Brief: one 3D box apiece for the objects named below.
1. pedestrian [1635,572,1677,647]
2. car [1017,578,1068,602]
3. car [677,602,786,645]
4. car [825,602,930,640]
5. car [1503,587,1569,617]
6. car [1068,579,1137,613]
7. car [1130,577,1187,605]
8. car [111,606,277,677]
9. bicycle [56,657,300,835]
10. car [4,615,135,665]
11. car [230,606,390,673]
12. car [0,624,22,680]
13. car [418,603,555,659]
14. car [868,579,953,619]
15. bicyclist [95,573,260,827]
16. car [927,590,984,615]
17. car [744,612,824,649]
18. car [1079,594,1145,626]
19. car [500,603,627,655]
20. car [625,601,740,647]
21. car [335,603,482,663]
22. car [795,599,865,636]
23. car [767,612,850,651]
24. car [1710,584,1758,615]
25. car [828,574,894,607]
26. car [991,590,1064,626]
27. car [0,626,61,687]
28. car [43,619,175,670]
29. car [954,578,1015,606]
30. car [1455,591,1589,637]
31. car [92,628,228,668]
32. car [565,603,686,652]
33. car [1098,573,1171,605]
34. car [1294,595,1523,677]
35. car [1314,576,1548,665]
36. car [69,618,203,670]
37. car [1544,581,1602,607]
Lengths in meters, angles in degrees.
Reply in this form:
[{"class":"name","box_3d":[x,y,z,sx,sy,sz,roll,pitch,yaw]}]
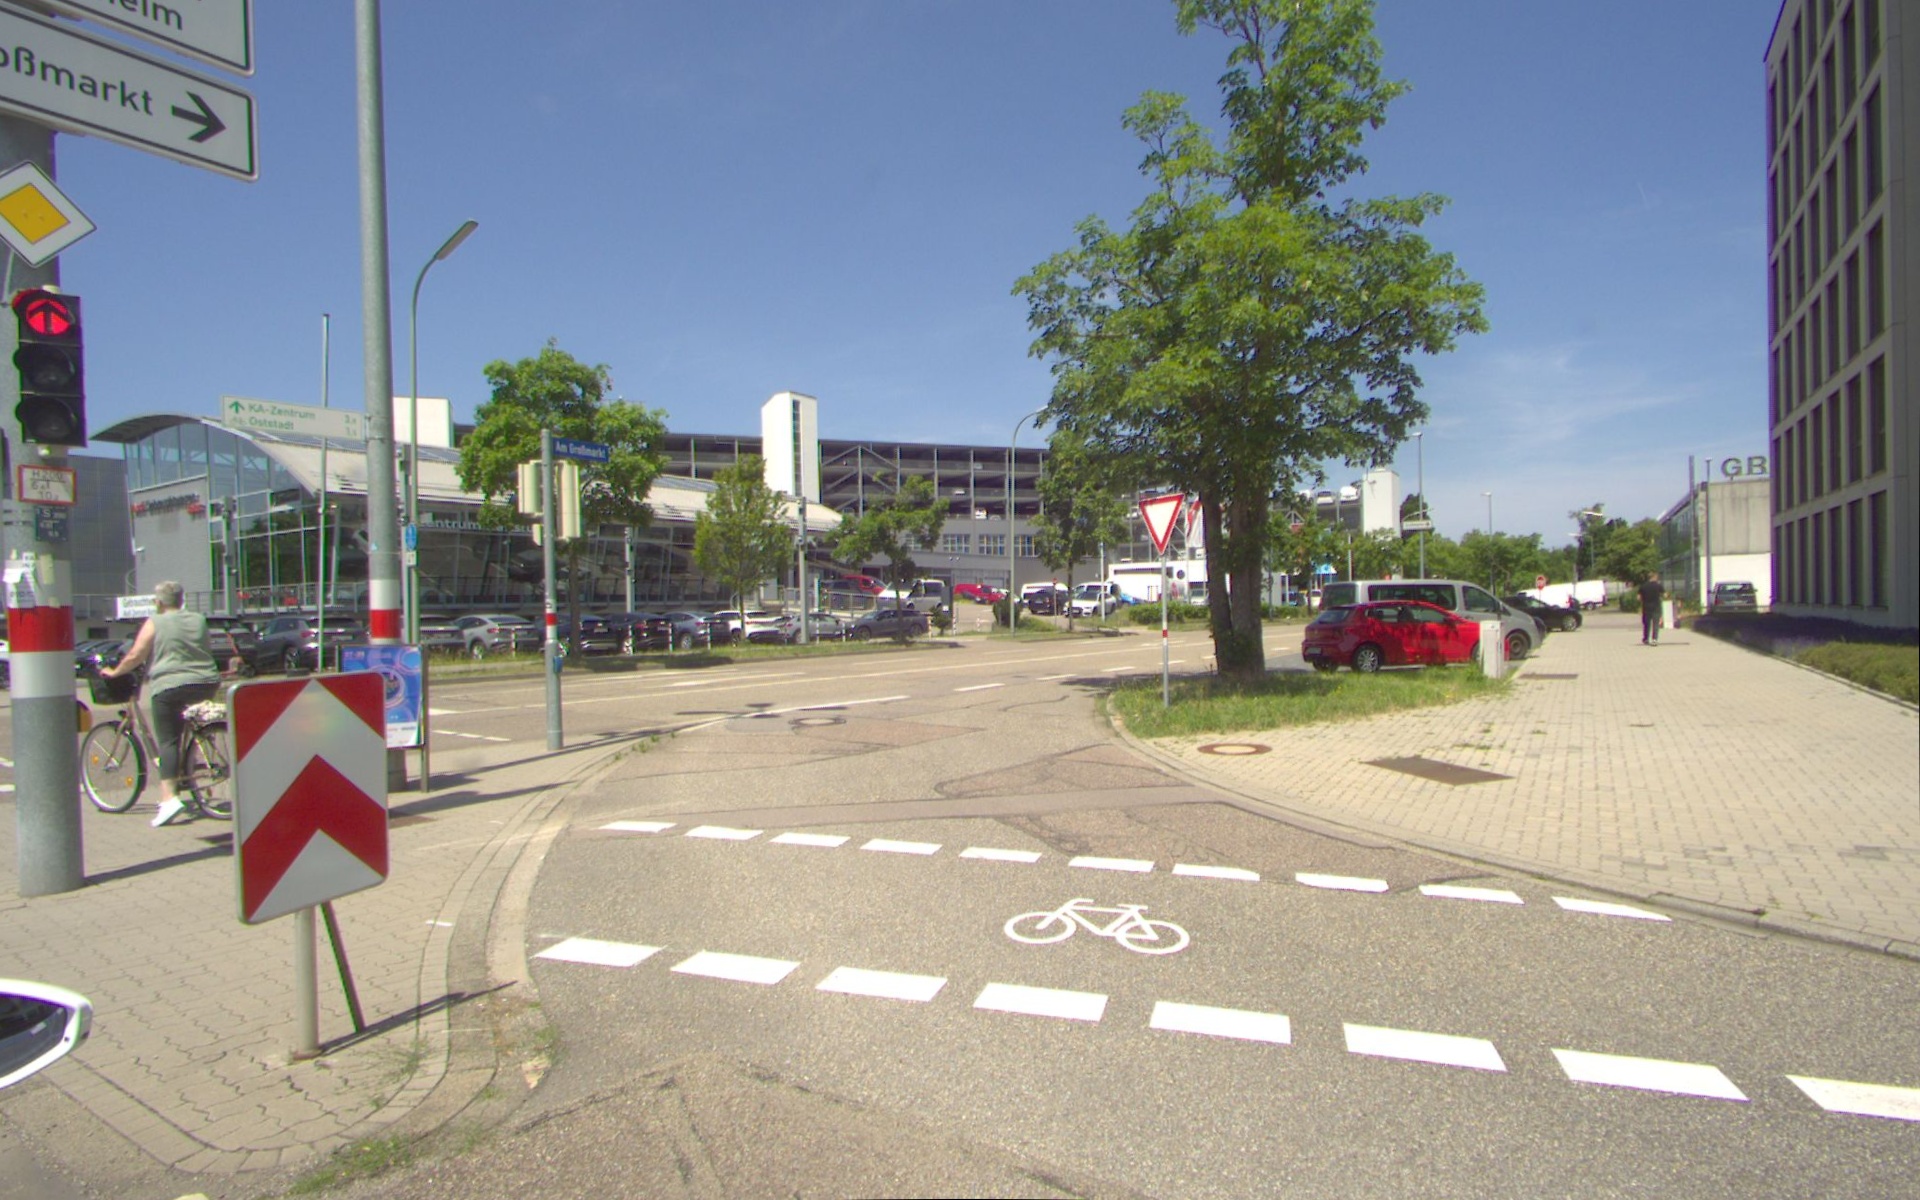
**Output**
[{"class":"pedestrian","box_3d":[17.806,0.236,25.614,0.764,1.869,0.861,-2,0,40]},{"class":"car","box_3d":[7.594,-0.900,91.917,4.257,2.040,1.989,-1,0,32]},{"class":"car","box_3d":[-9.475,0.950,41.362,4.410,1.662,1.823,-1,1,32]},{"class":"car","box_3d":[-3.898,0.942,47.641,4.702,1.662,1.821,-1,1,-35]},{"class":"car","box_3d":[41.683,0.139,72.521,3.949,2.040,1.986,-1,0,37]},{"class":"car","box_3d":[9.049,-0.228,63.860,3.943,2.040,1.840,-1,0,32]},{"class":"car","box_3d":[15.508,-0.686,78.271,3.945,2.040,1.988,-1,0,34]},{"class":"car","box_3d":[-19.419,0.993,25.357,4.207,1.661,1.989,-1,0,32]},{"class":"bicycle","box_3d":[-5.928,1.031,7.574,1.891,1.142,0.786,0,0,29]},{"class":"car","box_3d":[-39.610,1.760,44.642,1.972,2.040,3.977,-1,0,33]},{"class":"car","box_3d":[-17.912,1.032,27.541,4.492,1.661,1.989,-1,0,32]},{"class":"car","box_3d":[-27.293,1.417,25.441,1.973,1.476,4.729,-2,-1,34]},{"class":"car","box_3d":[-15.205,0.958,32.095,4.460,1.661,1.881,-1,1,32]},{"class":"car","box_3d":[-2.583,-0.043,53.991,1.972,2.040,5.117,-1,0,32]},{"class":"bicyclist","box_3d":[-5.845,0.708,7.496,0.742,1.772,0.733,0,0,28]},{"class":"car","box_3d":[-0.332,0.201,74.367,3.943,1.810,1.730,-1,0,32]},{"class":"car","box_3d":[-9.026,1.530,51.406,3.712,1.795,1.761,-1,0,-28]},{"class":"car","box_3d":[10.155,0.678,66.941,3.943,2.040,1.989,-1,0,32]},{"class":"car","box_3d":[-13.655,0.979,34.425,4.410,1.662,1.823,-1,1,32]},{"class":"car","box_3d":[-10.848,0.915,39.055,4.410,1.662,1.823,-1,1,32]},{"class":"car","box_3d":[-16.593,0.960,30.080,4.377,1.661,1.989,-1,1,32]},{"class":"car","box_3d":[-7.518,0.987,58.123,1.839,2.040,3.733,-1,0,41]},{"class":"car","box_3d":[-7.468,1.520,49.318,3.659,1.801,1.739,-1,0,-31]},{"class":"car","box_3d":[42.001,-0.035,54.416,1.765,1.542,3.556,-2,0,33]},{"class":"car","box_3d":[-6.674,-0.621,67.376,3.937,2.040,1.992,-1,0,27]},{"class":"car","box_3d":[4.098,0.493,60.911,3.943,2.040,1.989,-1,0,32]},{"class":"car","box_3d":[-25.112,1.418,24.192,1.973,1.476,4.729,0,0,34]},{"class":"car","box_3d":[-37.283,1.906,43.957,1.972,2.040,3.977,-1,0,33]},{"class":"car","box_3d":[1.891,-0.581,77.653,4.286,2.040,1.990,-1,0,30]},{"class":"car","box_3d":[21.612,0.552,38.639,4.075,1.558,1.815,-3,-1,2]},{"class":"car","box_3d":[-32.932,1.927,41.326,1.694,1.480,4.083,0,0,33]},{"class":"car","box_3d":[-12.298,0.988,36.760,4.410,1.662,1.823,-1,1,32]},{"class":"car","box_3d":[11.967,-0.748,68.789,4.578,2.040,1.989,-1,0,32]},{"class":"car","box_3d":[8.955,0.702,20.131,3.924,1.454,1.609,-2,0,-8]},{"class":"car","box_3d":[10.874,0.443,23.222,4.814,1.840,1.703,-2,1,-10]},{"class":"car","box_3d":[-34.907,1.816,42.523,1.972,2.040,3.977,-1,0,33]},{"class":"car","box_3d":[55.194,-0.529,90.116,4.304,2.149,2.080,-1,0,36]}]
